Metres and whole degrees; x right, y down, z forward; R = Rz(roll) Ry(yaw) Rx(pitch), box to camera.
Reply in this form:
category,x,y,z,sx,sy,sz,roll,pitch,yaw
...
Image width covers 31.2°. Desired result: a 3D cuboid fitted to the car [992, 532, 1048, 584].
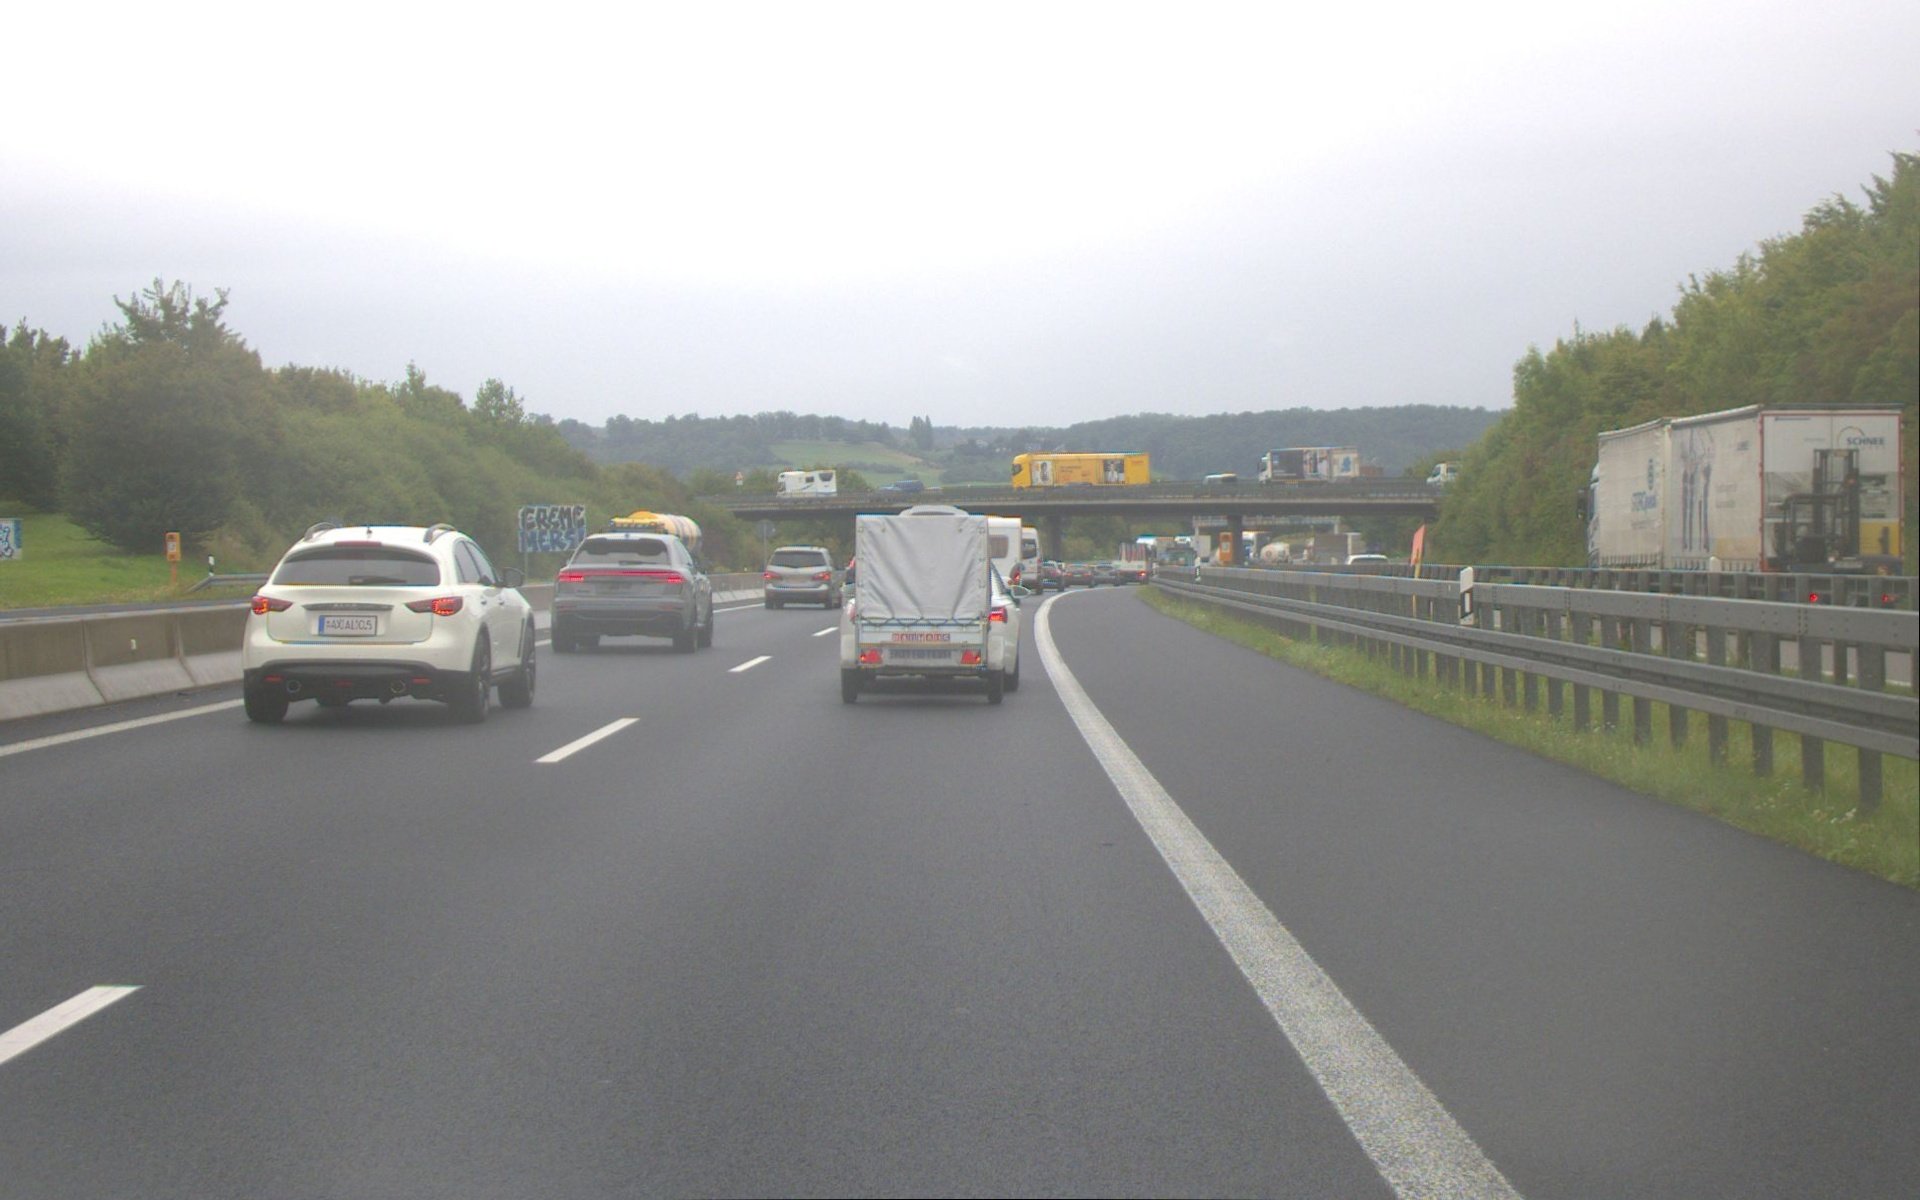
category,x,y,z,sx,sy,sz,roll,pitch,yaw
car,2.390,-1.708,138.269,1.993,2.029,4.152,1,1,-2

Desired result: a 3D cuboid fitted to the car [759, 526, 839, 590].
category,x,y,z,sx,sy,sz,roll,pitch,yaw
car,-4.129,-1.097,88.609,1.900,1.607,4.017,0,1,0

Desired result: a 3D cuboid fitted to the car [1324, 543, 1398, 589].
category,x,y,z,sx,sy,sz,roll,pitch,yaw
car,12.819,-1.099,110.093,1.860,1.442,4.158,0,1,0

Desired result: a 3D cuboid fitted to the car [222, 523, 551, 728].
category,x,y,z,sx,sy,sz,roll,pitch,yaw
car,-4.838,0.168,29.632,1.976,1.633,4.500,0,1,1

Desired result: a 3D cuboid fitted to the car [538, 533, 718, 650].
category,x,y,z,sx,sy,sz,roll,pitch,yaw
car,-4.759,-0.155,49.866,2.174,1.626,4.501,0,1,0

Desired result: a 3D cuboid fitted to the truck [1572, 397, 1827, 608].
category,x,y,z,sx,sy,sz,roll,pitch,yaw
truck,15.900,-2.087,74.834,3.437,4.274,10.418,0,1,1

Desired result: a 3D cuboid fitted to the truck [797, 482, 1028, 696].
category,x,y,z,sx,sy,sz,roll,pitch,yaw
truck,-0.370,-0.174,35.412,2.019,1.979,7.213,0,1,2

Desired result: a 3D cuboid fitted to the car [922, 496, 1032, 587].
category,x,y,z,sx,sy,sz,roll,pitch,yaw
car,0.544,-1.757,102.013,3.017,2.607,6.074,0,1,3

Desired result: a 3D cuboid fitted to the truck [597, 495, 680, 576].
category,x,y,z,sx,sy,sz,roll,pitch,yaw
truck,-13.934,-2.790,149.242,2.762,3.386,5.845,1,1,3

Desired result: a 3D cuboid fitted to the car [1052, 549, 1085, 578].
category,x,y,z,sx,sy,sz,roll,pitch,yaw
car,6.644,-2.225,210.841,1.993,1.744,4.000,1,1,2

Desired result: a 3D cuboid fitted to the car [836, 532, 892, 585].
category,x,y,z,sx,sy,sz,roll,pitch,yaw
car,-3.299,-1.450,118.601,1.842,1.813,4.000,0,1,0

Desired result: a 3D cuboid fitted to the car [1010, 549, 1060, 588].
category,x,y,z,sx,sy,sz,roll,pitch,yaw
car,3.414,-1.461,157.106,1.993,1.744,4.000,1,1,-2

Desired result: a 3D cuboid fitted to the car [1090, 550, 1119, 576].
category,x,y,z,sx,sy,sz,roll,pitch,yaw
car,10.050,-2.561,238.771,1.994,1.744,4.000,1,1,3

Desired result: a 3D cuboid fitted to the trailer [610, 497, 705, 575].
category,x,y,z,sx,sy,sz,roll,pitch,yaw
trailer,-13.646,-2.873,156.004,2.762,3.386,11.446,1,1,3

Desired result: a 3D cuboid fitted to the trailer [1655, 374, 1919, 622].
category,x,y,z,sx,sy,sz,roll,pitch,yaw
trailer,15.689,-1.862,64.377,3.437,4.274,10.454,0,1,1
